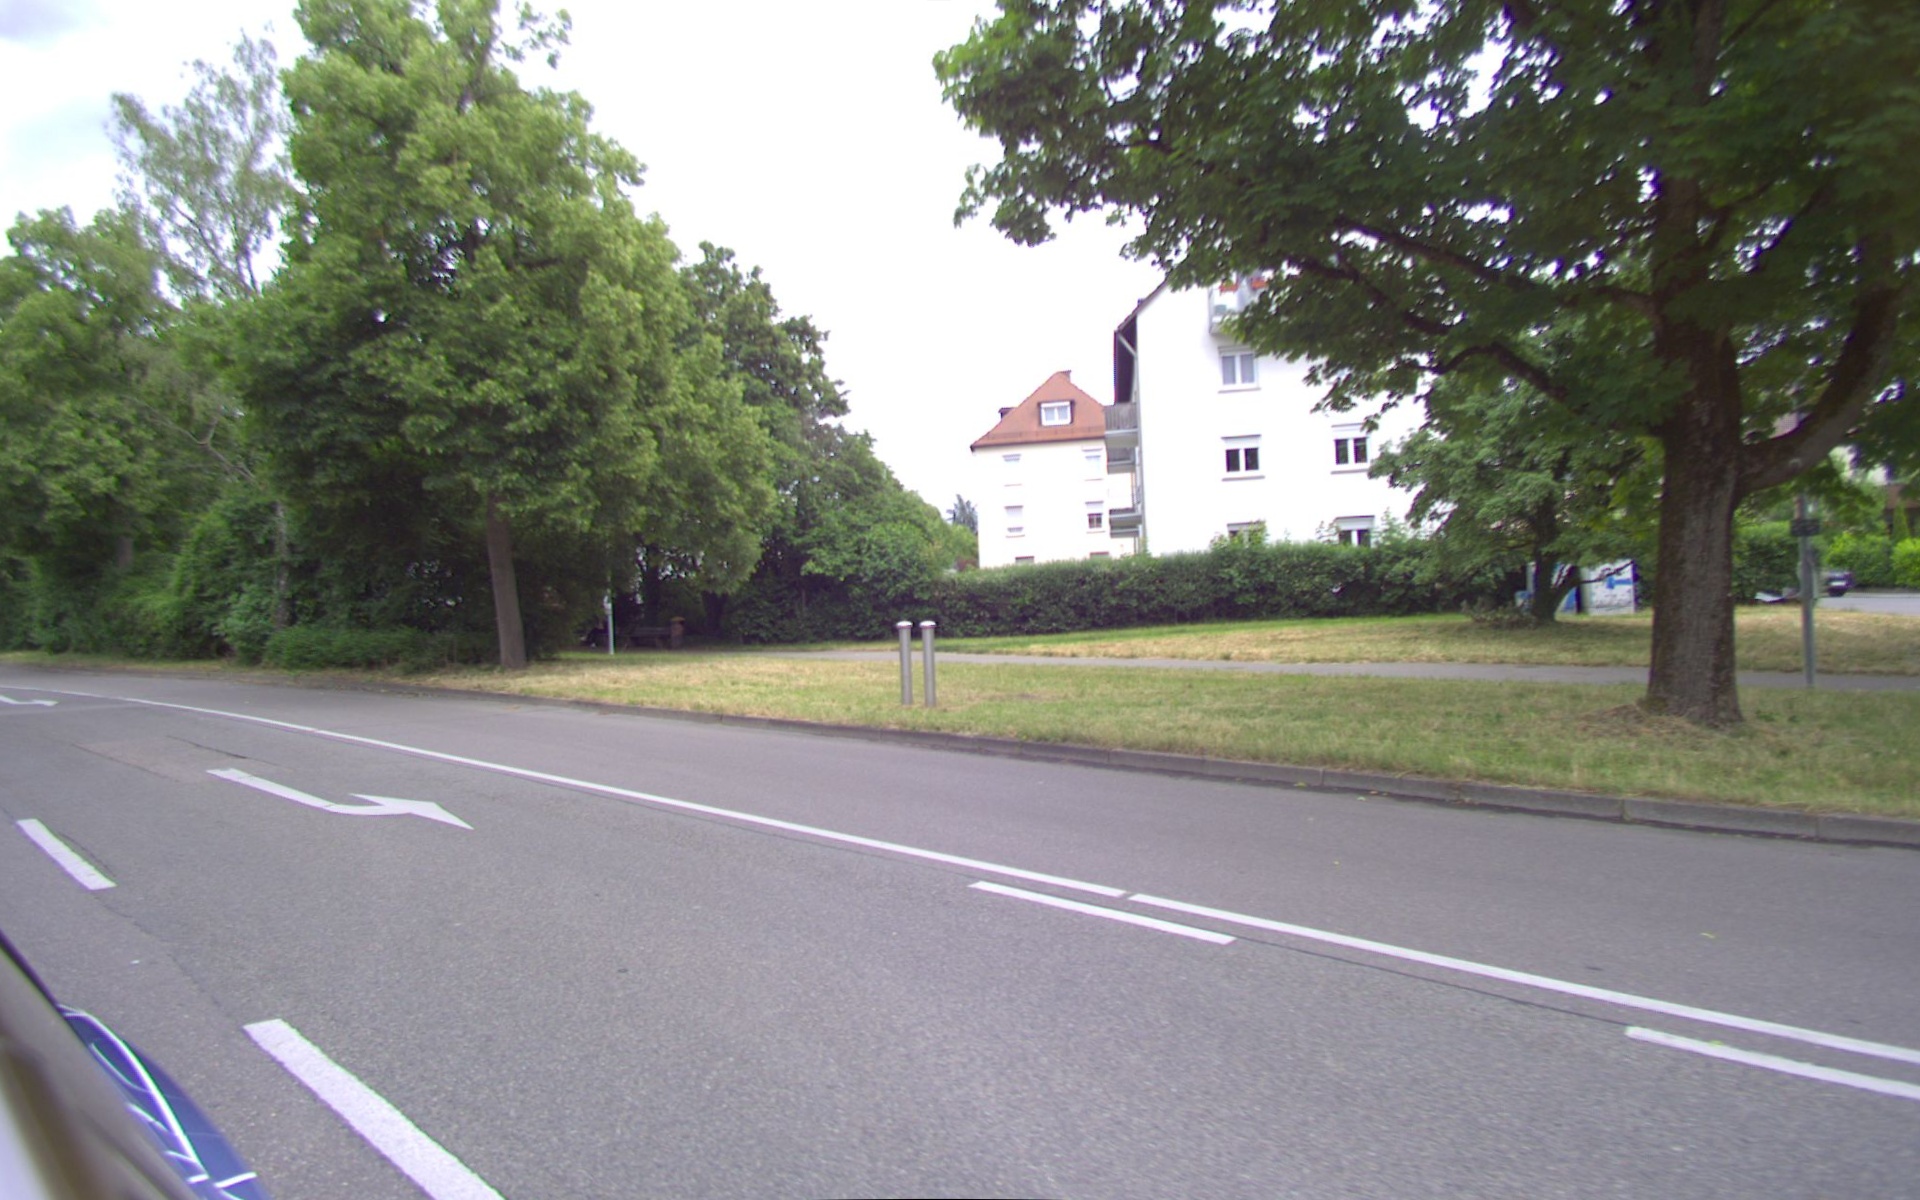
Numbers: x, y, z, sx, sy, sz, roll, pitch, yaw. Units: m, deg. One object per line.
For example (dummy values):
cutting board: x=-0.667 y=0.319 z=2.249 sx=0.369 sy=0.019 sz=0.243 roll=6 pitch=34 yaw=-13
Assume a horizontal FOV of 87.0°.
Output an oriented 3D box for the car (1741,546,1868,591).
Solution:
car: x=32.744 y=-1.214 z=39.382 sx=1.780 sy=1.546 sz=3.886 roll=-4 pitch=2 yaw=4

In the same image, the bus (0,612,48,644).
bus: x=-97.083 y=2.934 z=102.040 sx=3.007 sy=3.031 sz=8.441 roll=-4 pitch=1 yaw=-5
